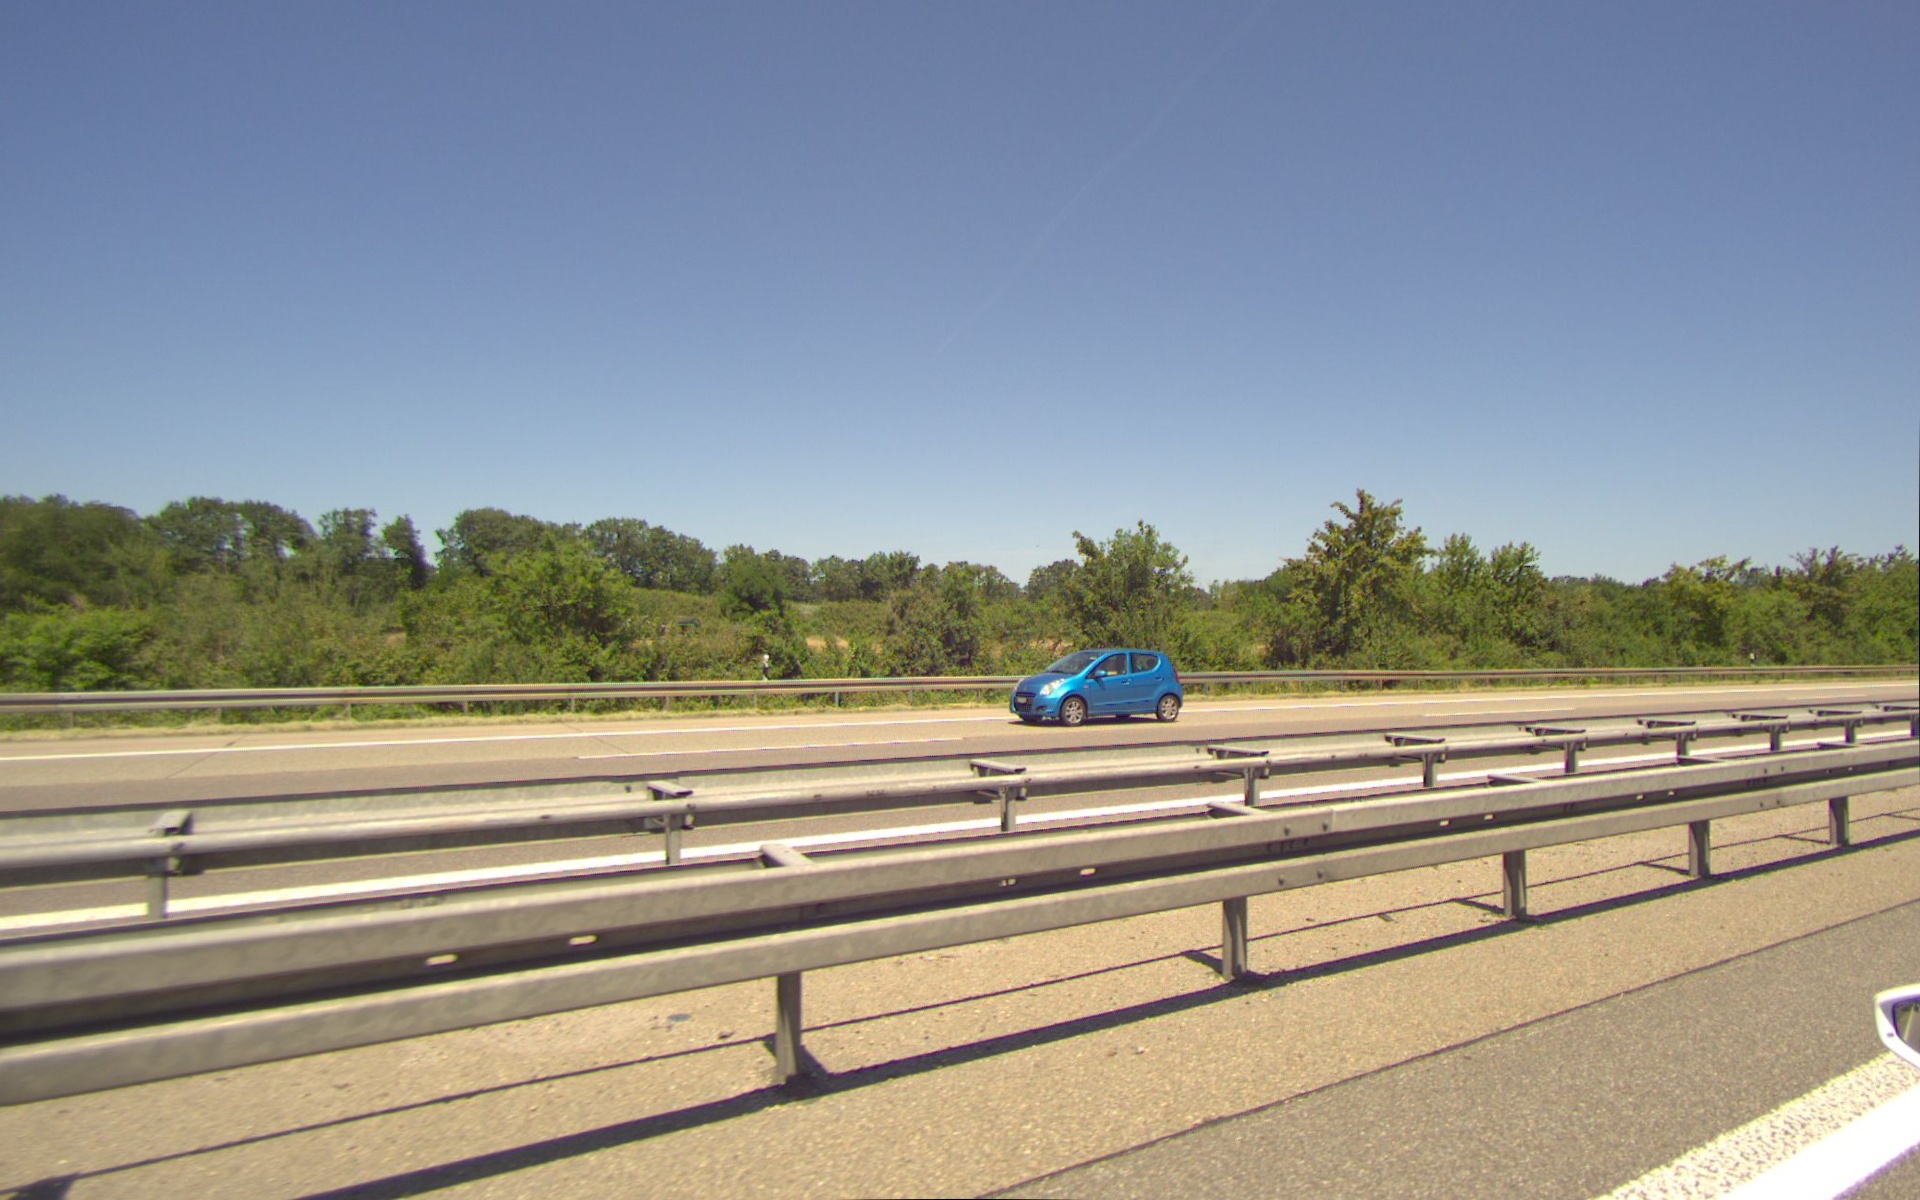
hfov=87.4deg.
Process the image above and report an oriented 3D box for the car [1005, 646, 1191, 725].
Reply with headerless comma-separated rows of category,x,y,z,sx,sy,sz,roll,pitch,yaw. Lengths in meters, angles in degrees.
car,2.750,1.664,19.870,3.431,1.442,1.557,3,-4,-30
